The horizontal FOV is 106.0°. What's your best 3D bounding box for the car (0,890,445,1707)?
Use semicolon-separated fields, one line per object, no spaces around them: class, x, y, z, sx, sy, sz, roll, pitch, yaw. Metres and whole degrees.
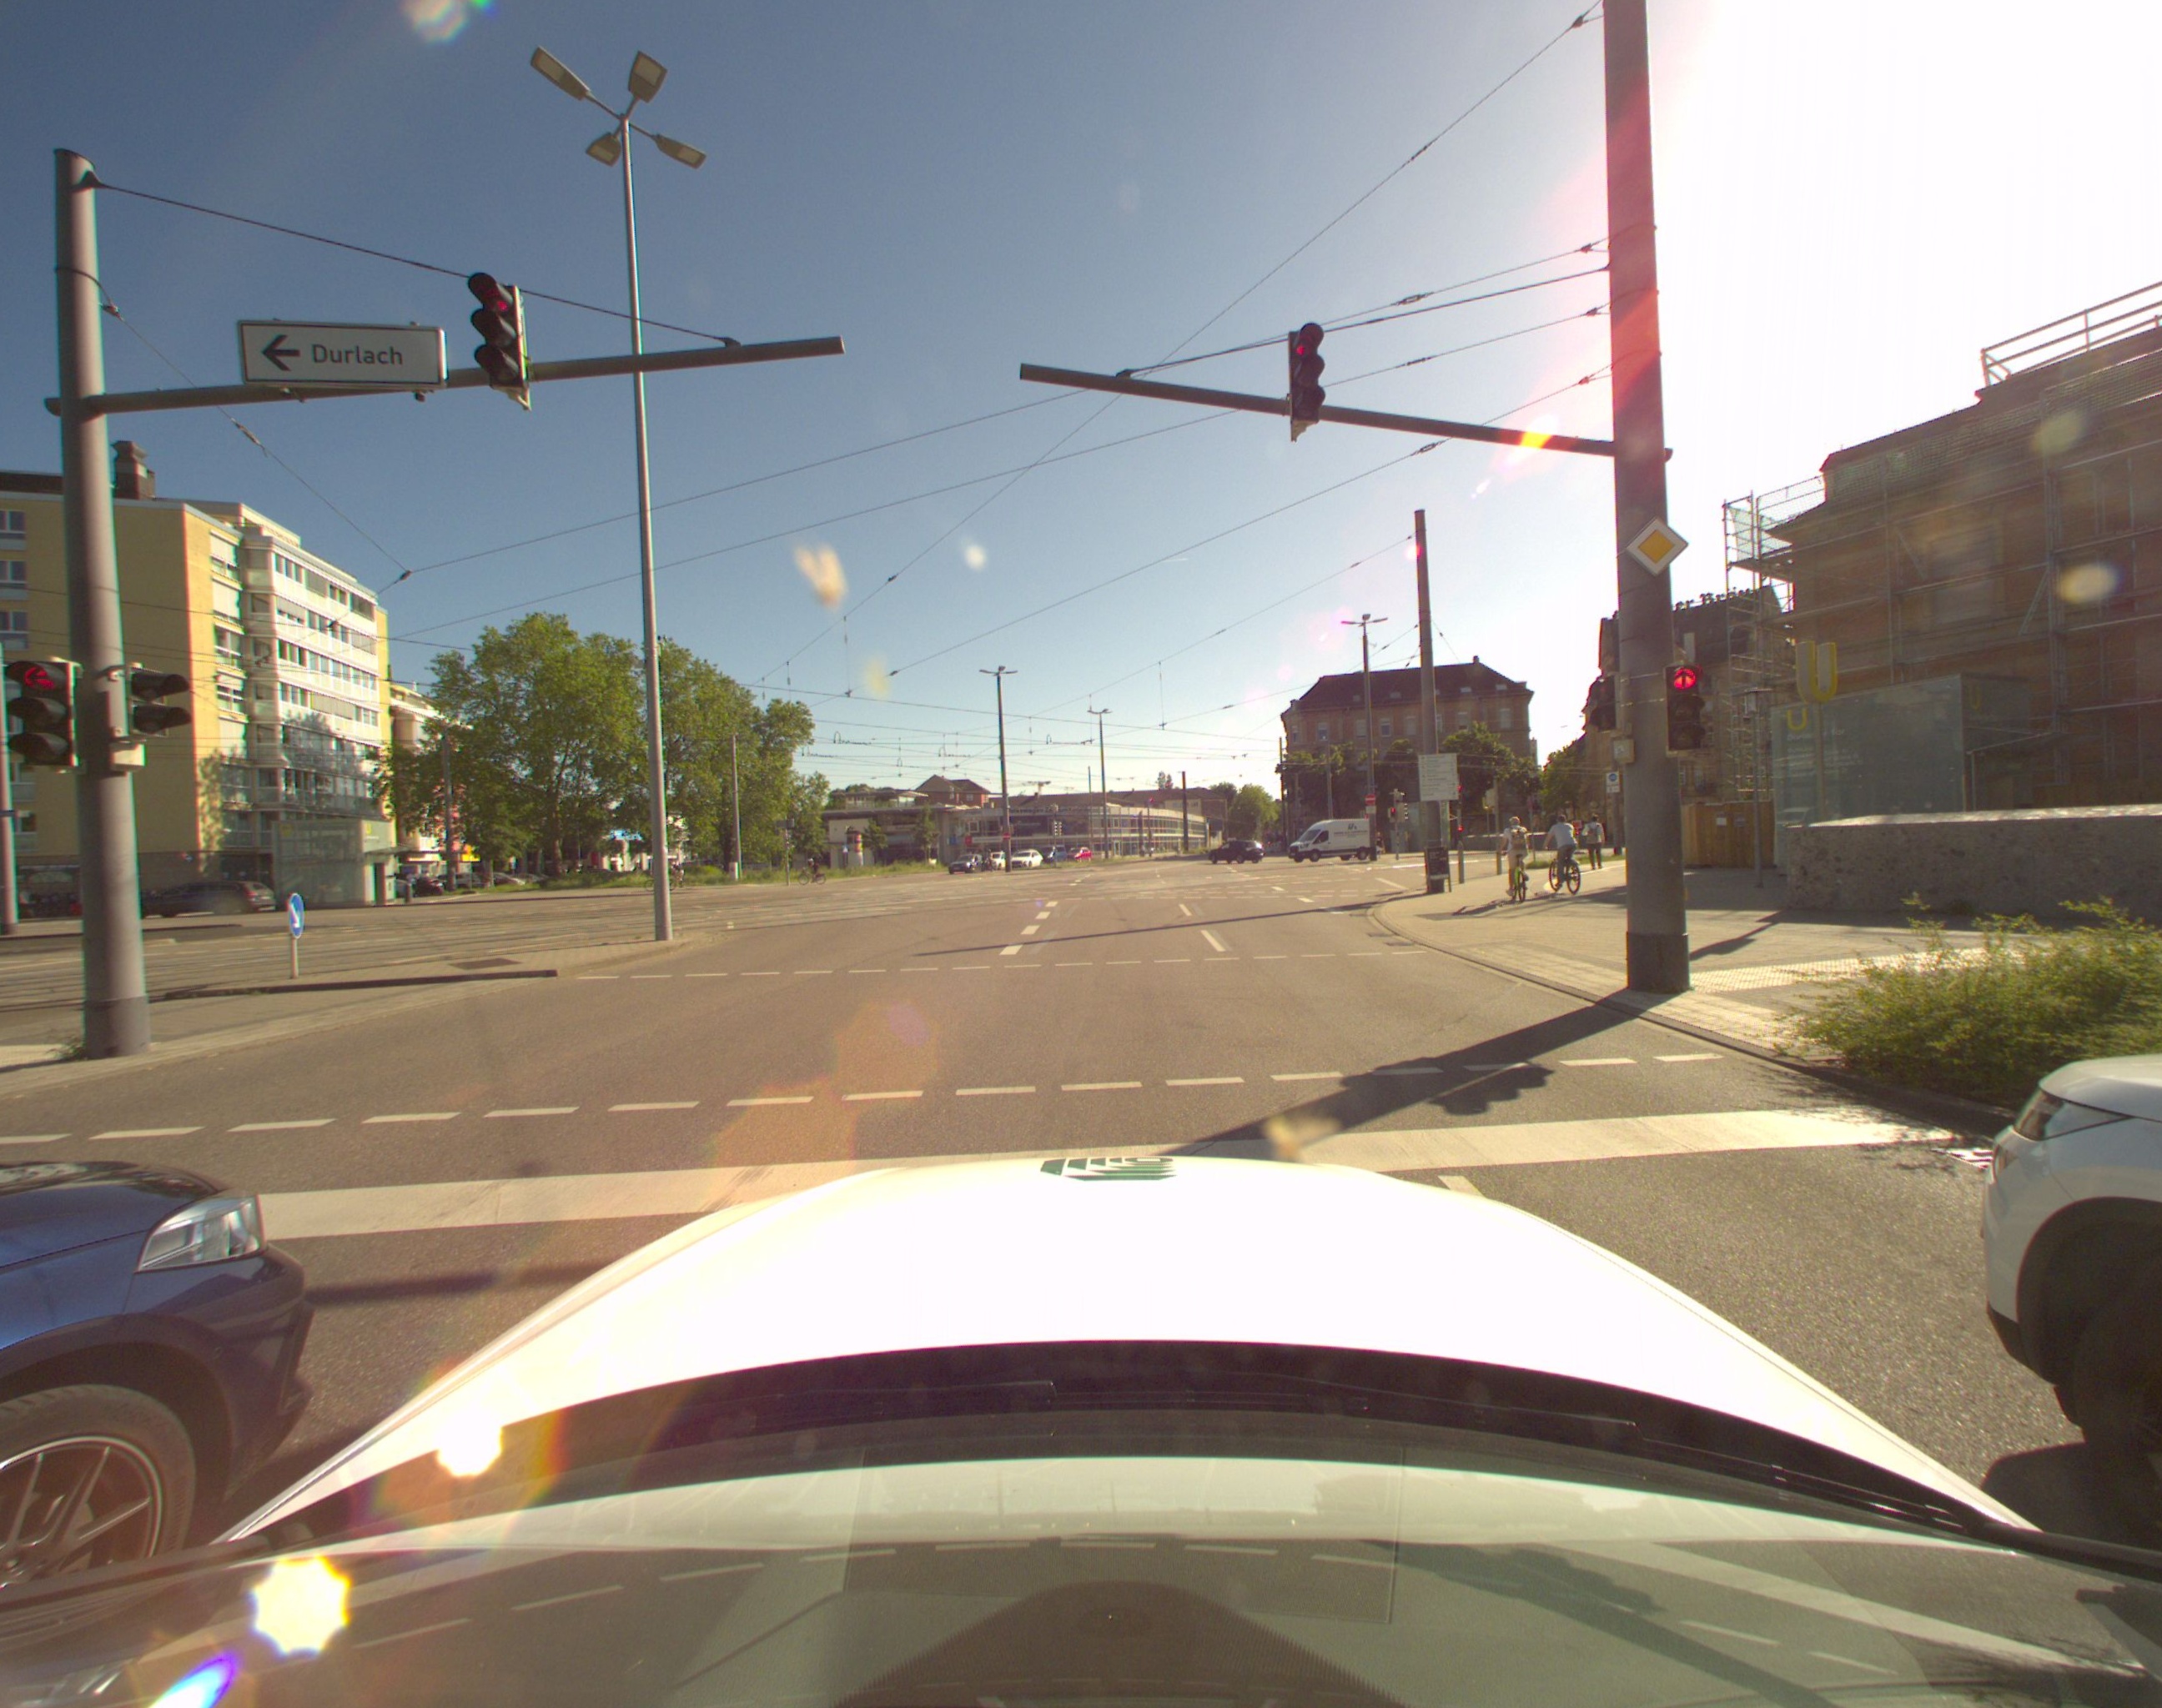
car;-2.664;0.833;0.214;1.704;1.445;4.034;-1;0;2

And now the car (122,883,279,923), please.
car;-38.293;2.093;35.562;4.222;1.400;1.848;-2;0;-18

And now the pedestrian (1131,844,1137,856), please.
pedestrian;7.561;-0.606;116.699;0.537;1.688;0.634;-2;0;32

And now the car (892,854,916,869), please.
car;-21.835;0.924;100.691;1.958;1.706;4.085;-2;0;2

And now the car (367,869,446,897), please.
car;-45.756;1.957;55.293;3.742;1.662;1.585;-2;0;-18

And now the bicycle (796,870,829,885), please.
bicycle;-17.762;1.539;53.893;2.010;0.913;0.559;-2;0;-17

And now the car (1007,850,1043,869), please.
car;-4.447;0.420;65.314;1.613;1.382;3.754;-2;0;17

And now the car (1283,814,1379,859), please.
car;16.450;-1.157;53.589;5.925;2.744;2.129;-2;0;-21

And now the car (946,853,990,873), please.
car;-8.476;0.653;61.335;1.689;1.354;3.719;-2;0;19

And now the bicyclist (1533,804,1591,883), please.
bicyclist;11.323;-0.240;19.192;0.744;1.778;0.925;-3;0;2

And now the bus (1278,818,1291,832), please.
bus;62.016;-8.747;247.810;3.809;3.607;24.963;-1;0;15

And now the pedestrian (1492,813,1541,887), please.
pedestrian;9.596;-0.087;17.976;0.547;1.562;0.857;-2;0;-3

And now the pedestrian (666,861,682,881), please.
pedestrian;-24.700;1.025;49.432;0.749;1.127;0.421;-2;0;-18

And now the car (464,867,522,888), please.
car;-51.414;2.017;71.237;3.742;1.662;1.585;-2;0;-18

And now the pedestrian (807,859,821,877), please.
pedestrian;-17.683;0.918;53.922;0.795;1.204;0.557;-2;0;-16

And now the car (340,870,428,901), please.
car;-42.884;1.928;50.181;3.742;1.662;1.585;-2;0;-18

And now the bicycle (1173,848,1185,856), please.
bicycle;14.129;-0.281;117.601;0.802;1.045;2.141;-2;0;34

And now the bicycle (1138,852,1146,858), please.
bicycle;8.172;0.130;109.364;0.418;0.718;1.484;-2;0;28

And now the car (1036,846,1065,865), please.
car;-2.963;0.128;79.306;1.613;1.692;3.702;-2;0;17

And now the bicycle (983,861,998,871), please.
bicycle;-6.785;0.897;60.872;0.419;0.718;1.642;-2;0;19

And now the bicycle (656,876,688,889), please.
bicycle;-24.798;1.711;49.390;1.634;0.718;0.421;-2;0;-18

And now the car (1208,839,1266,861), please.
car;11.407;-0.279;59.843;1.711;1.503;4.220;-2;0;-34

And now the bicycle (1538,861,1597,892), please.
bicycle;11.365;0.518;19.078;0.535;0.655;1.469;-3;0;3

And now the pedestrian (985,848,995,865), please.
pedestrian;-6.821;0.189;60.863;0.419;1.204;0.753;-2;0;19

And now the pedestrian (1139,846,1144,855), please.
pedestrian;8.136;-0.488;109.346;0.418;1.204;0.685;-2;0;28

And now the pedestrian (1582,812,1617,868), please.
pedestrian;17.767;-0.494;27.903;0.887;1.859;0.933;-2;0;36

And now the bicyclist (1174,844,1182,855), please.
bicyclist;13.989;-0.666;117.336;0.802;1.623;0.935;-2;0;34

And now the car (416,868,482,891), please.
car;-49.842;1.999;64.312;3.742;1.662;1.585;-2;0;-18

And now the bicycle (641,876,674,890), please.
bicycle;-24.893;1.702;47.905;1.635;0.758;0.421;-2;0;-21

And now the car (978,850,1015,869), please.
car;-6.952;0.463;67.258;1.613;1.424;3.702;-2;0;17

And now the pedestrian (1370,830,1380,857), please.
pedestrian;21.852;-0.777;60.484;0.461;2.013;0.449;-3;0;-16

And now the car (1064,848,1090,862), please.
car;-0.409;0.127;86.376;1.613;1.364;3.703;-2;0;18

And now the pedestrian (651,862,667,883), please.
pedestrian;-24.839;1.066;47.937;0.750;1.204;0.421;-2;0;-21

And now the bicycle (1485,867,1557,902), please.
bicycle;9.659;0.653;17.962;0.536;0.655;1.723;-5;0;-3
